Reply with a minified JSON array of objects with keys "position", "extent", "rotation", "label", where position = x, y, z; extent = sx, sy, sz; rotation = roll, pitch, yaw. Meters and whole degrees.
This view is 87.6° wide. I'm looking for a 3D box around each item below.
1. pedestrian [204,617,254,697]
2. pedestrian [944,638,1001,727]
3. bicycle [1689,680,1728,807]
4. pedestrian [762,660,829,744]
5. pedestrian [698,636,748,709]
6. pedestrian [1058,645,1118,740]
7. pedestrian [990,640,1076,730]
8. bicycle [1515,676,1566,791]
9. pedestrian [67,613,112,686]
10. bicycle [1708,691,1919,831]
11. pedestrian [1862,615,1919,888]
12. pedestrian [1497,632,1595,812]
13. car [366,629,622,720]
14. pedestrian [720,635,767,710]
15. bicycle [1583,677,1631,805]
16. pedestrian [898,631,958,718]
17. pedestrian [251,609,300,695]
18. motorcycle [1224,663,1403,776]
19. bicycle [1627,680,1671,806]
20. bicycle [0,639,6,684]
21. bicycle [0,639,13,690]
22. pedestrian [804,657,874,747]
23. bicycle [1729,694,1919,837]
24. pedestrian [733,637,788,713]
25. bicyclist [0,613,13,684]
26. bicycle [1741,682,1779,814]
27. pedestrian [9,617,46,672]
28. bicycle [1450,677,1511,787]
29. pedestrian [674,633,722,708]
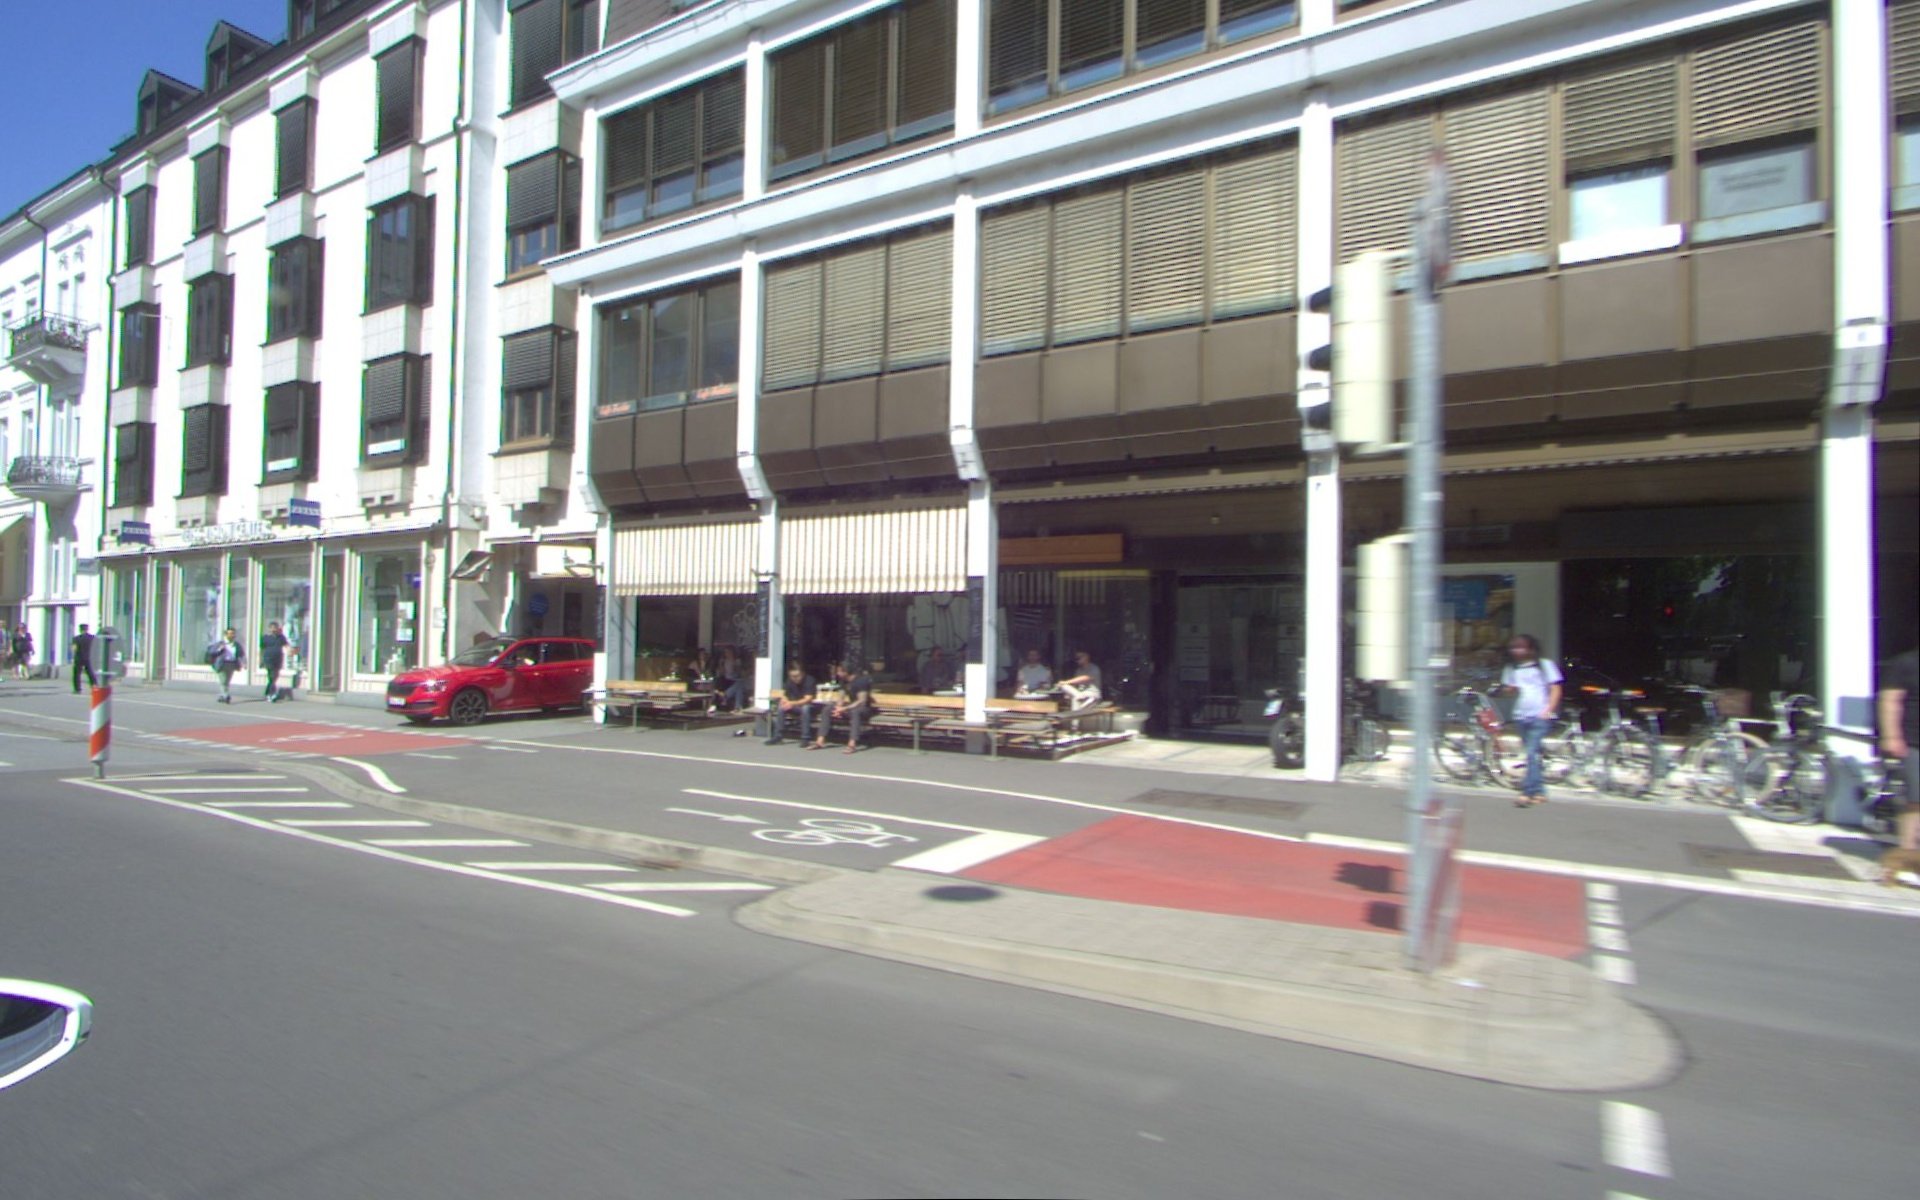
[{"position":[-16.090,1.243,22.049],"extent":[0.826,1.707,0.691],"rotation":[0,-2,41],"label":"pedestrian"},{"position":[0.211,1.340,16.500],"extent":[0.686,1.414,0.710],"rotation":[-1,-3,31],"label":"pedestrian"},{"position":[7.685,1.422,10.261],"extent":[0.274,1.135,1.710],"rotation":[0,-1,38],"label":"bicycle"},{"position":[-2.419,1.478,14.748],"extent":[0.689,1.187,0.708],"rotation":[-2,-3,40],"label":"pedestrian"},{"position":[-4.596,1.398,19.441],"extent":[0.576,1.385,0.743],"rotation":[0,-2,31],"label":"pedestrian"},{"position":[1.970,1.401,15.395],"extent":[0.686,1.414,0.710],"rotation":[-1,-3,31],"label":"pedestrian"},{"position":[1.160,1.330,15.887],"extent":[1.089,1.367,0.895],"rotation":[-2,-3,31],"label":"pedestrian"},{"position":[6.591,1.458,11.423],"extent":[0.273,1.134,2.238],"rotation":[1,-3,24],"label":"bicycle"},{"position":[-21.284,1.211,24.493],"extent":[0.824,1.741,0.619],"rotation":[-2,-3,34],"label":"pedestrian"},{"position":[8.138,1.447,9.034],"extent":[2.216,1.134,0.275],"rotation":[0,-2,40],"label":"bicycle"},{"position":[6.883,1.043,7.070],"extent":[0.689,1.858,0.829],"rotation":[-2,-3,40],"label":"pedestrian"},{"position":[5.842,1.177,9.979],"extent":[0.689,1.684,0.829],"rotation":[-2,-3,40],"label":"pedestrian"},{"position":[-8.630,1.364,18.870],"extent":[1.817,1.513,4.037],"rotation":[-3,-4,33],"label":"car"},{"position":[-4.140,1.382,19.169],"extent":[0.471,1.385,0.760],"rotation":[0,-2,31],"label":"pedestrian"},{"position":[6.778,1.432,10.474],"extent":[0.274,1.222,1.540],"rotation":[0,-3,38],"label":"bicycle"},{"position":[-0.526,1.249,16.890],"extent":[0.686,1.414,0.812],"rotation":[-1,-3,30],"label":"pedestrian"},{"position":[-15.426,1.172,22.557],"extent":[0.826,1.873,0.691],"rotation":[-2,-3,41],"label":"pedestrian"},{"position":[4.521,1.472,12.783],"extent":[2.211,1.306,0.944],"rotation":[2,-3,-30],"label":"motorcycle"},{"position":[7.082,1.426,10.275],"extent":[0.274,1.135,1.565],"rotation":[0,-1,38],"label":"bicycle"},{"position":[-25.270,1.551,25.617],"extent":[2.318,1.112,0.620],"rotation":[-1,-3,31],"label":"bicycle"},{"position":[-22.916,1.504,23.635],"extent":[1.779,1.134,0.592],"rotation":[0,-2,40],"label":"bicycle"},{"position":[-1.721,1.428,14.272],"extent":[0.689,1.232,0.708],"rotation":[-2,-3,40],"label":"pedestrian"},{"position":[8.075,1.444,8.689],"extent":[2.216,1.134,0.275],"rotation":[0,-2,40],"label":"bicycle"},{"position":[-3.761,1.400,18.913],"extent":[0.529,1.385,0.876],"rotation":[0,-2,31],"label":"pedestrian"},{"position":[-22.736,1.131,23.456],"extent":[0.826,1.646,0.691],"rotation":[0,-2,40],"label":"bicyclist"},{"position":[7.991,1.430,10.017],"extent":[0.274,1.135,1.710],"rotation":[0,-1,38],"label":"bicycle"},{"position":[-28.326,1.351,30.418],"extent":[0.811,1.637,0.644],"rotation":[-2,-3,35],"label":"pedestrian"},{"position":[6.058,1.482,11.719],"extent":[0.272,1.110,2.241],"rotation":[1,-2,18],"label":"bicycle"},{"position":[-5.026,1.343,19.212],"extent":[0.679,1.385,0.534],"rotation":[0,-2,33],"label":"pedestrian"}]
